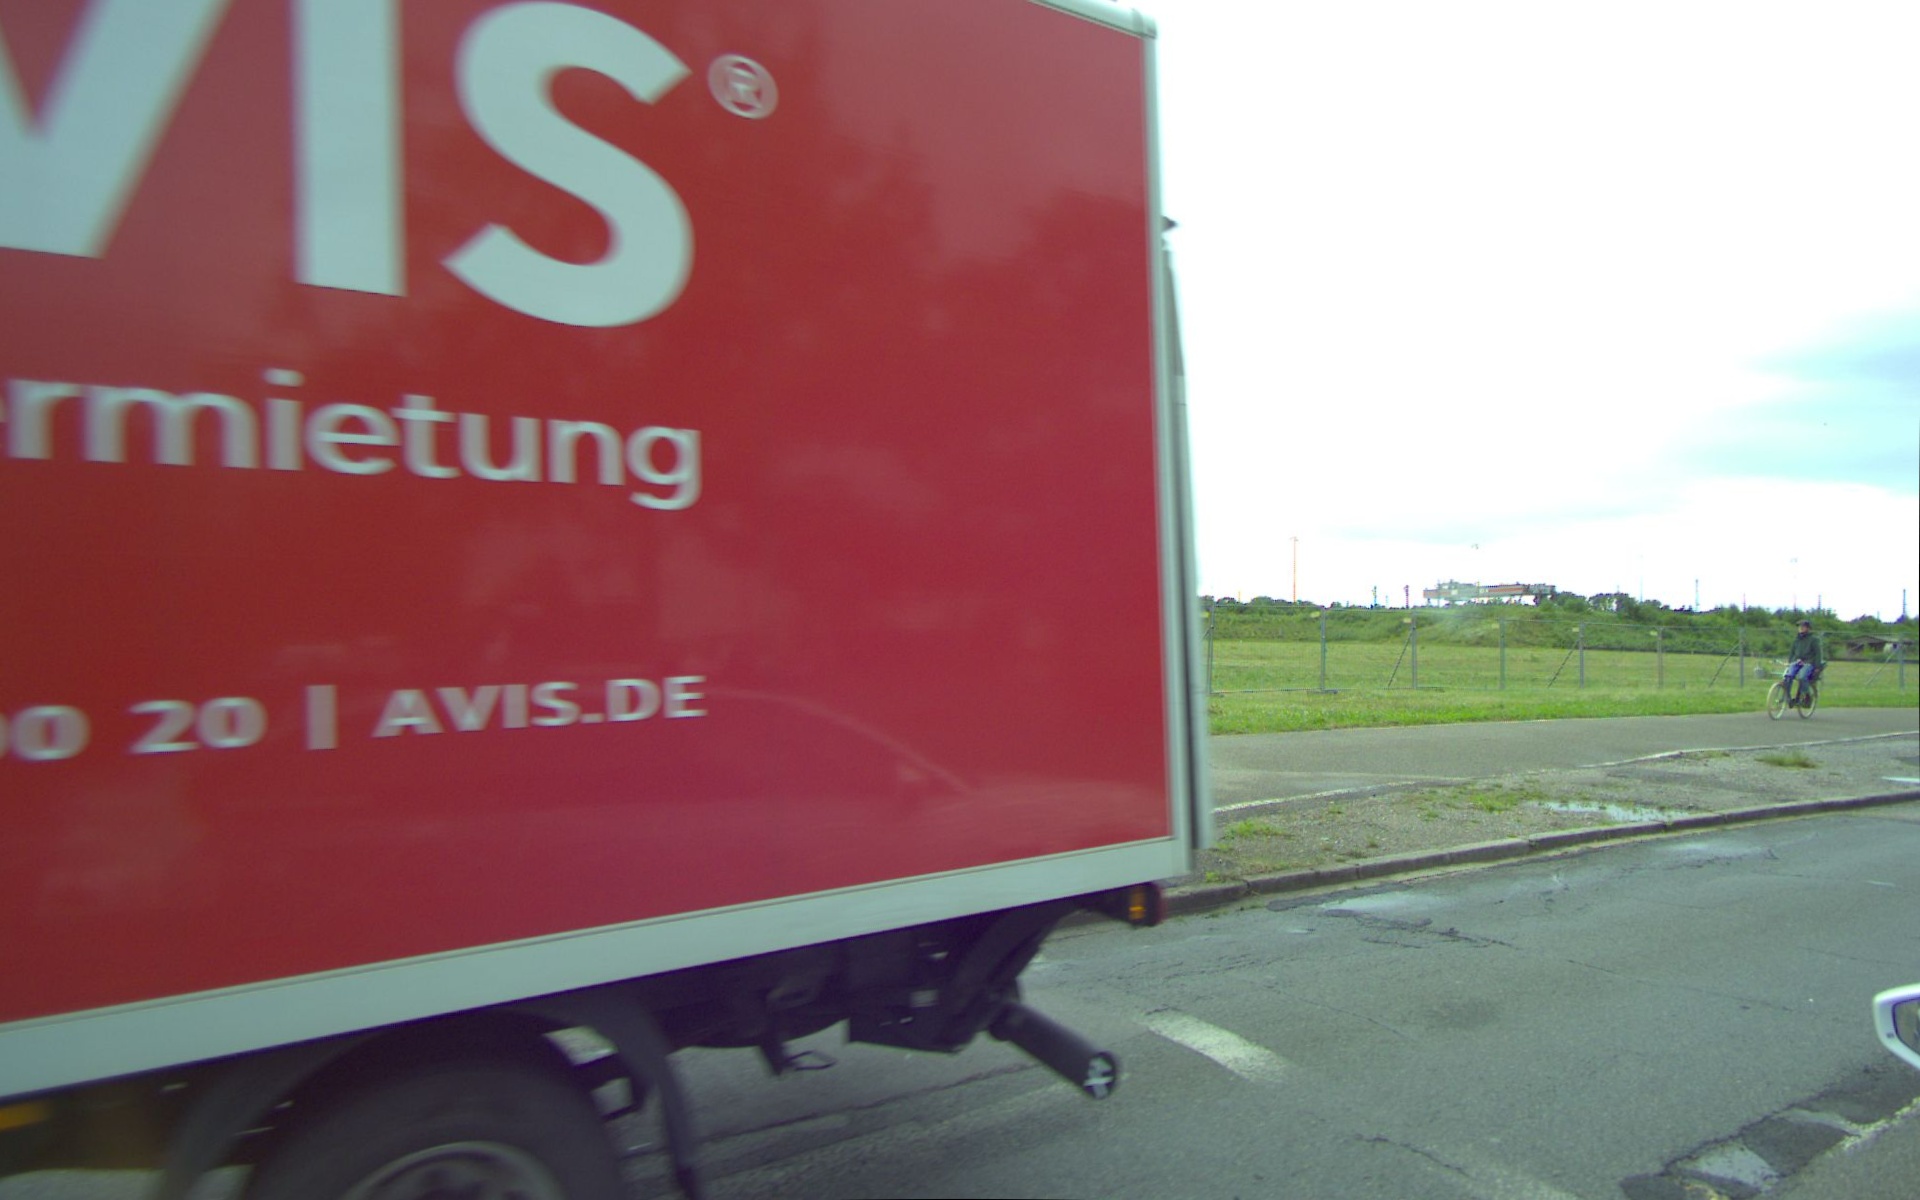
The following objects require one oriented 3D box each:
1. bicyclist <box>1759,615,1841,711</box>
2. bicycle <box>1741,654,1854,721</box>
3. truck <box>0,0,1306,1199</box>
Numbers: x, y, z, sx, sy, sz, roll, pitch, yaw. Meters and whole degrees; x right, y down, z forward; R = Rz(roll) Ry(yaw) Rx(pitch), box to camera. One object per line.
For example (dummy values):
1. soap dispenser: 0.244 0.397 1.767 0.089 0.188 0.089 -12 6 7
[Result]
1. bicyclist: 16.658 1.226 19.923 1.314 1.845 0.824 1 -1 -28
2. bicycle: 16.589 1.693 19.878 2.524 1.220 0.816 1 -1 -27
3. truck: -2.937 -0.064 1.853 7.403 3.101 2.332 2 -4 -28
